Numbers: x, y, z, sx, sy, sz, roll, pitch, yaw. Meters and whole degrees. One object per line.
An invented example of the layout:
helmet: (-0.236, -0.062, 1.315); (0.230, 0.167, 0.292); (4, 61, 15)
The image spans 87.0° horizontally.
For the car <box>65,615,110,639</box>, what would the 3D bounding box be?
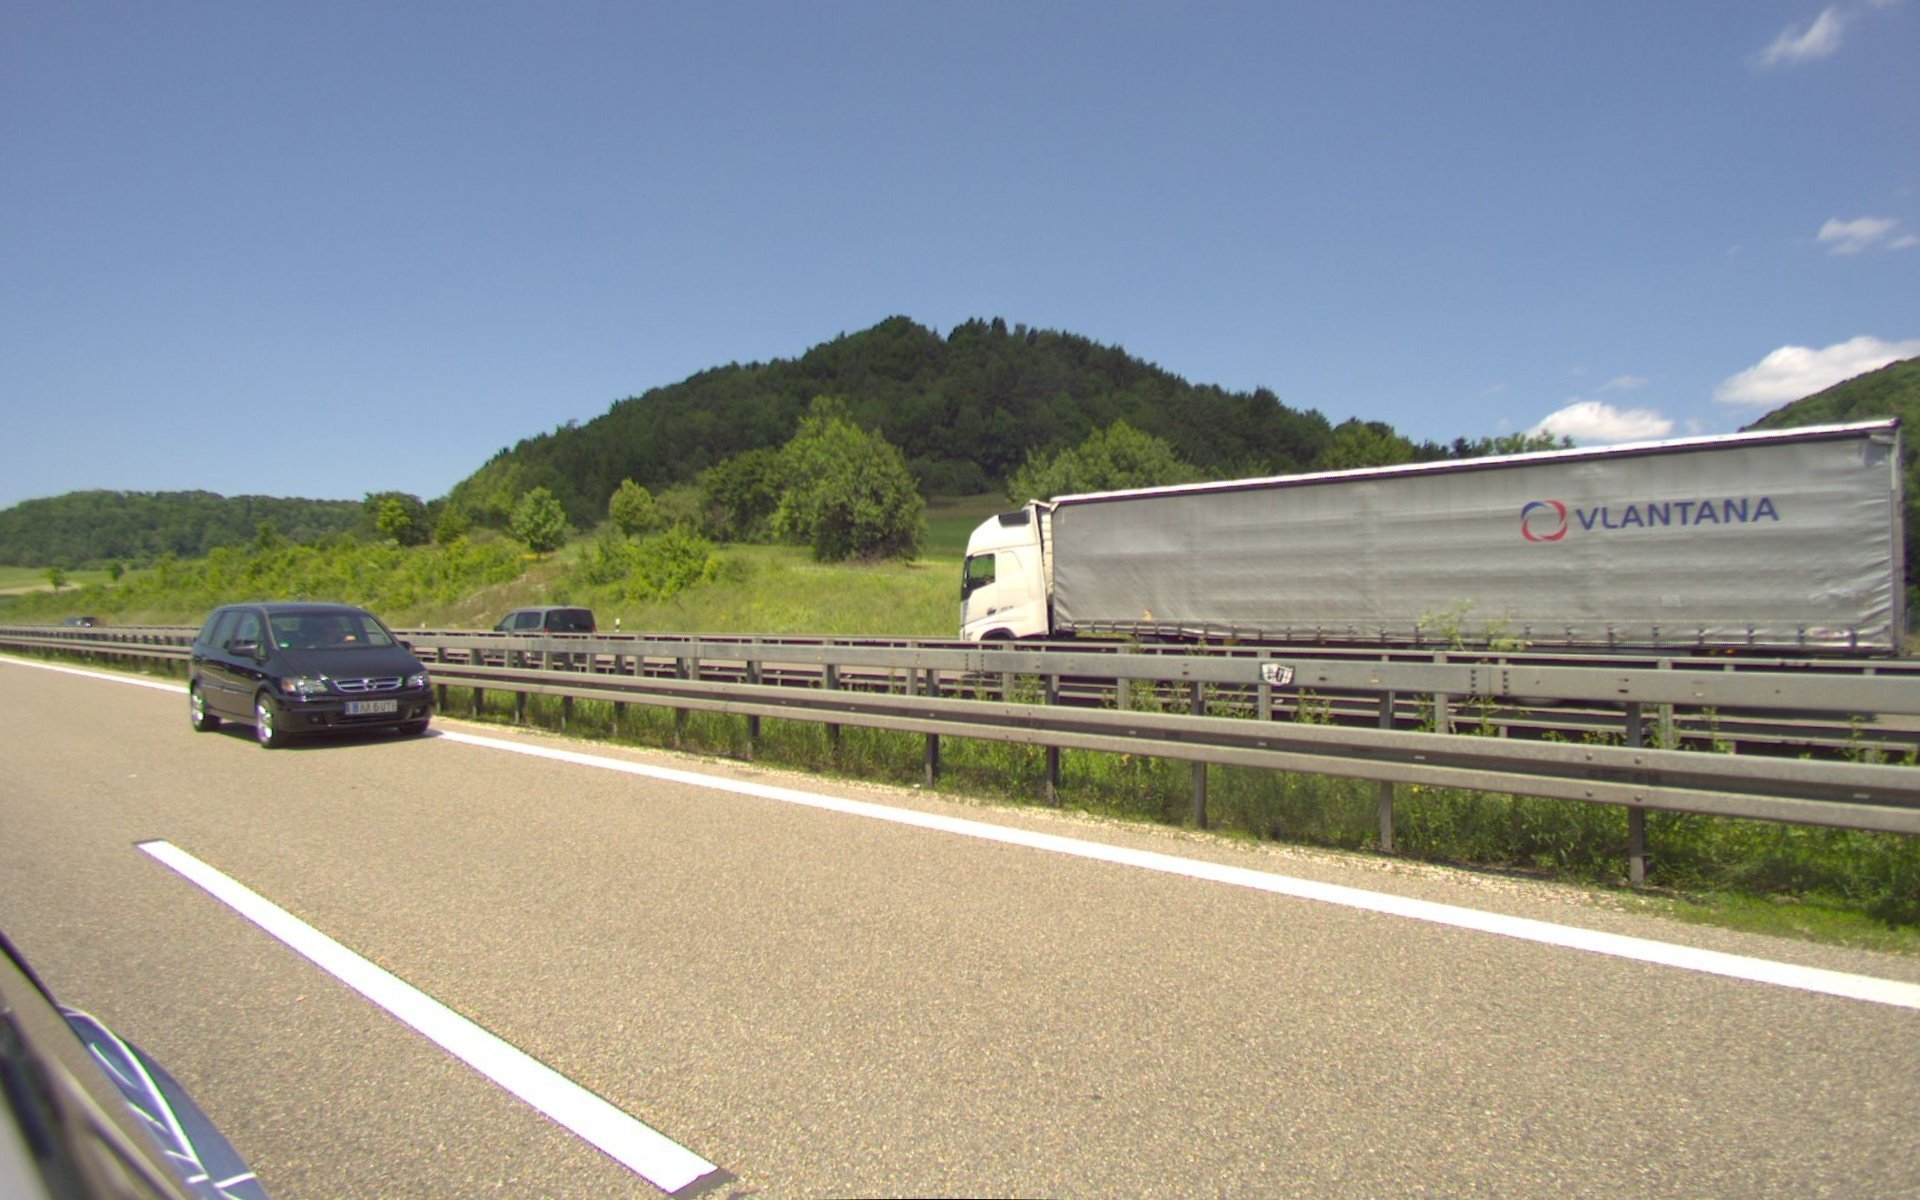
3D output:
car: (-61.558, 1.911, 71.373); (4.075, 1.622, 1.830); (-1, -1, 40)

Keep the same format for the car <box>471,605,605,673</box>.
car: (-12.610, 1.111, 30.130); (4.405, 1.867, 1.973); (-1, 0, 42)

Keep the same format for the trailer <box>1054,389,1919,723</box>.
trailer: (8.061, -0.523, 18.201); (13.607, 4.222, 2.825); (0, 0, 41)

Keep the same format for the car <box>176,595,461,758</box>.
car: (-7.977, 0.813, 12.412); (4.444, 1.647, 1.782); (-1, -1, 41)

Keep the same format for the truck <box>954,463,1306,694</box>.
truck: (3.494, -0.390, 22.180); (7.227, 4.264, 2.769); (-1, 0, 41)
